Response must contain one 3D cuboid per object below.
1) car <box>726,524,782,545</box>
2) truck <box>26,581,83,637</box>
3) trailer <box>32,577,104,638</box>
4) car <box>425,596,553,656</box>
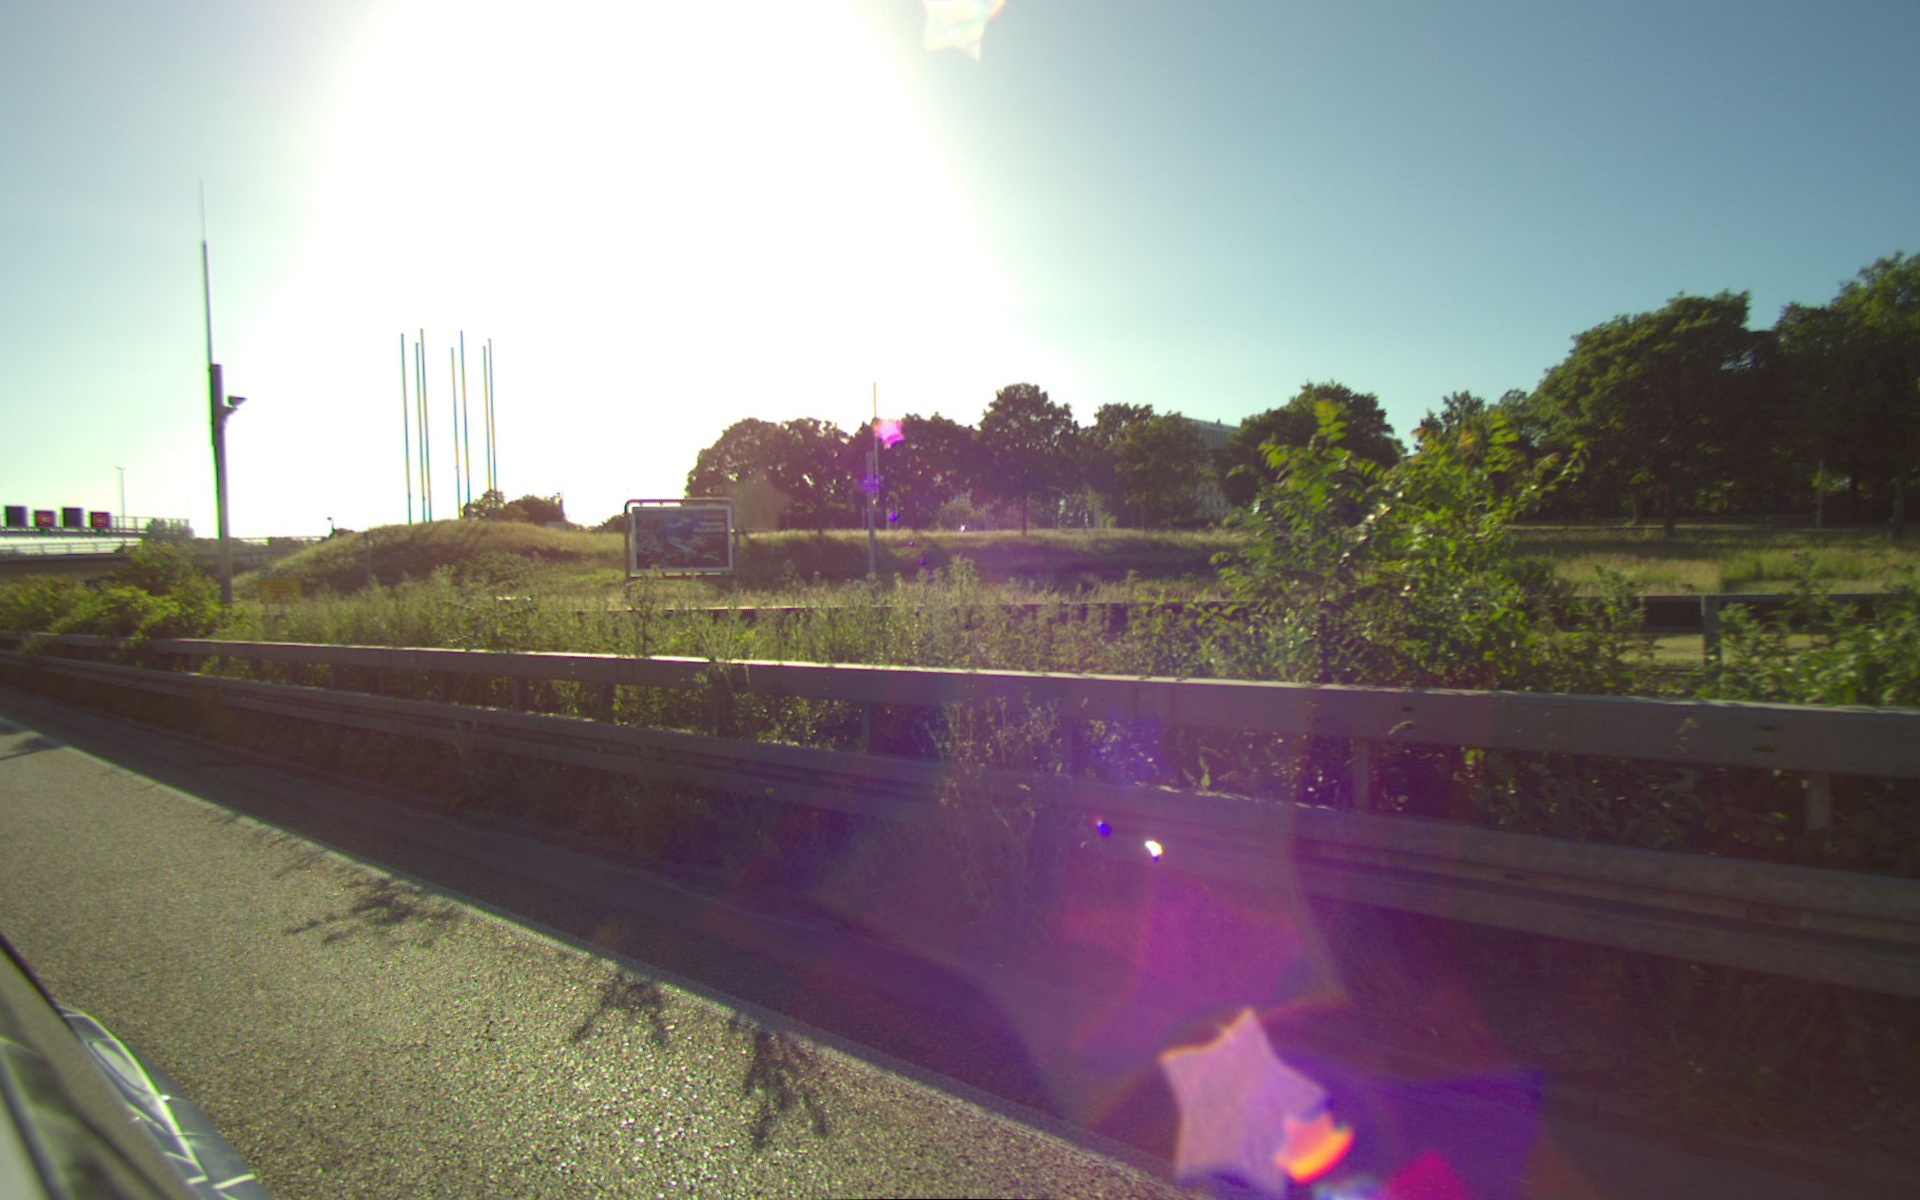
[{"bbox_3d":[-23.745,-7.578,116.779,6.058,2.029,2.529,-1,0,24],"label":"car"},{"bbox_3d":[-69.603,0.699,77.756,5.559,4.154,2.621,-2,0,41],"label":"truck"},{"bbox_3d":[-64.968,0.600,73.607,10.695,4.154,2.621,-2,0,42],"label":"trailer"},{"bbox_3d":[-13.457,0.722,28.822,3.998,1.573,1.822,-1,0,41],"label":"car"}]
